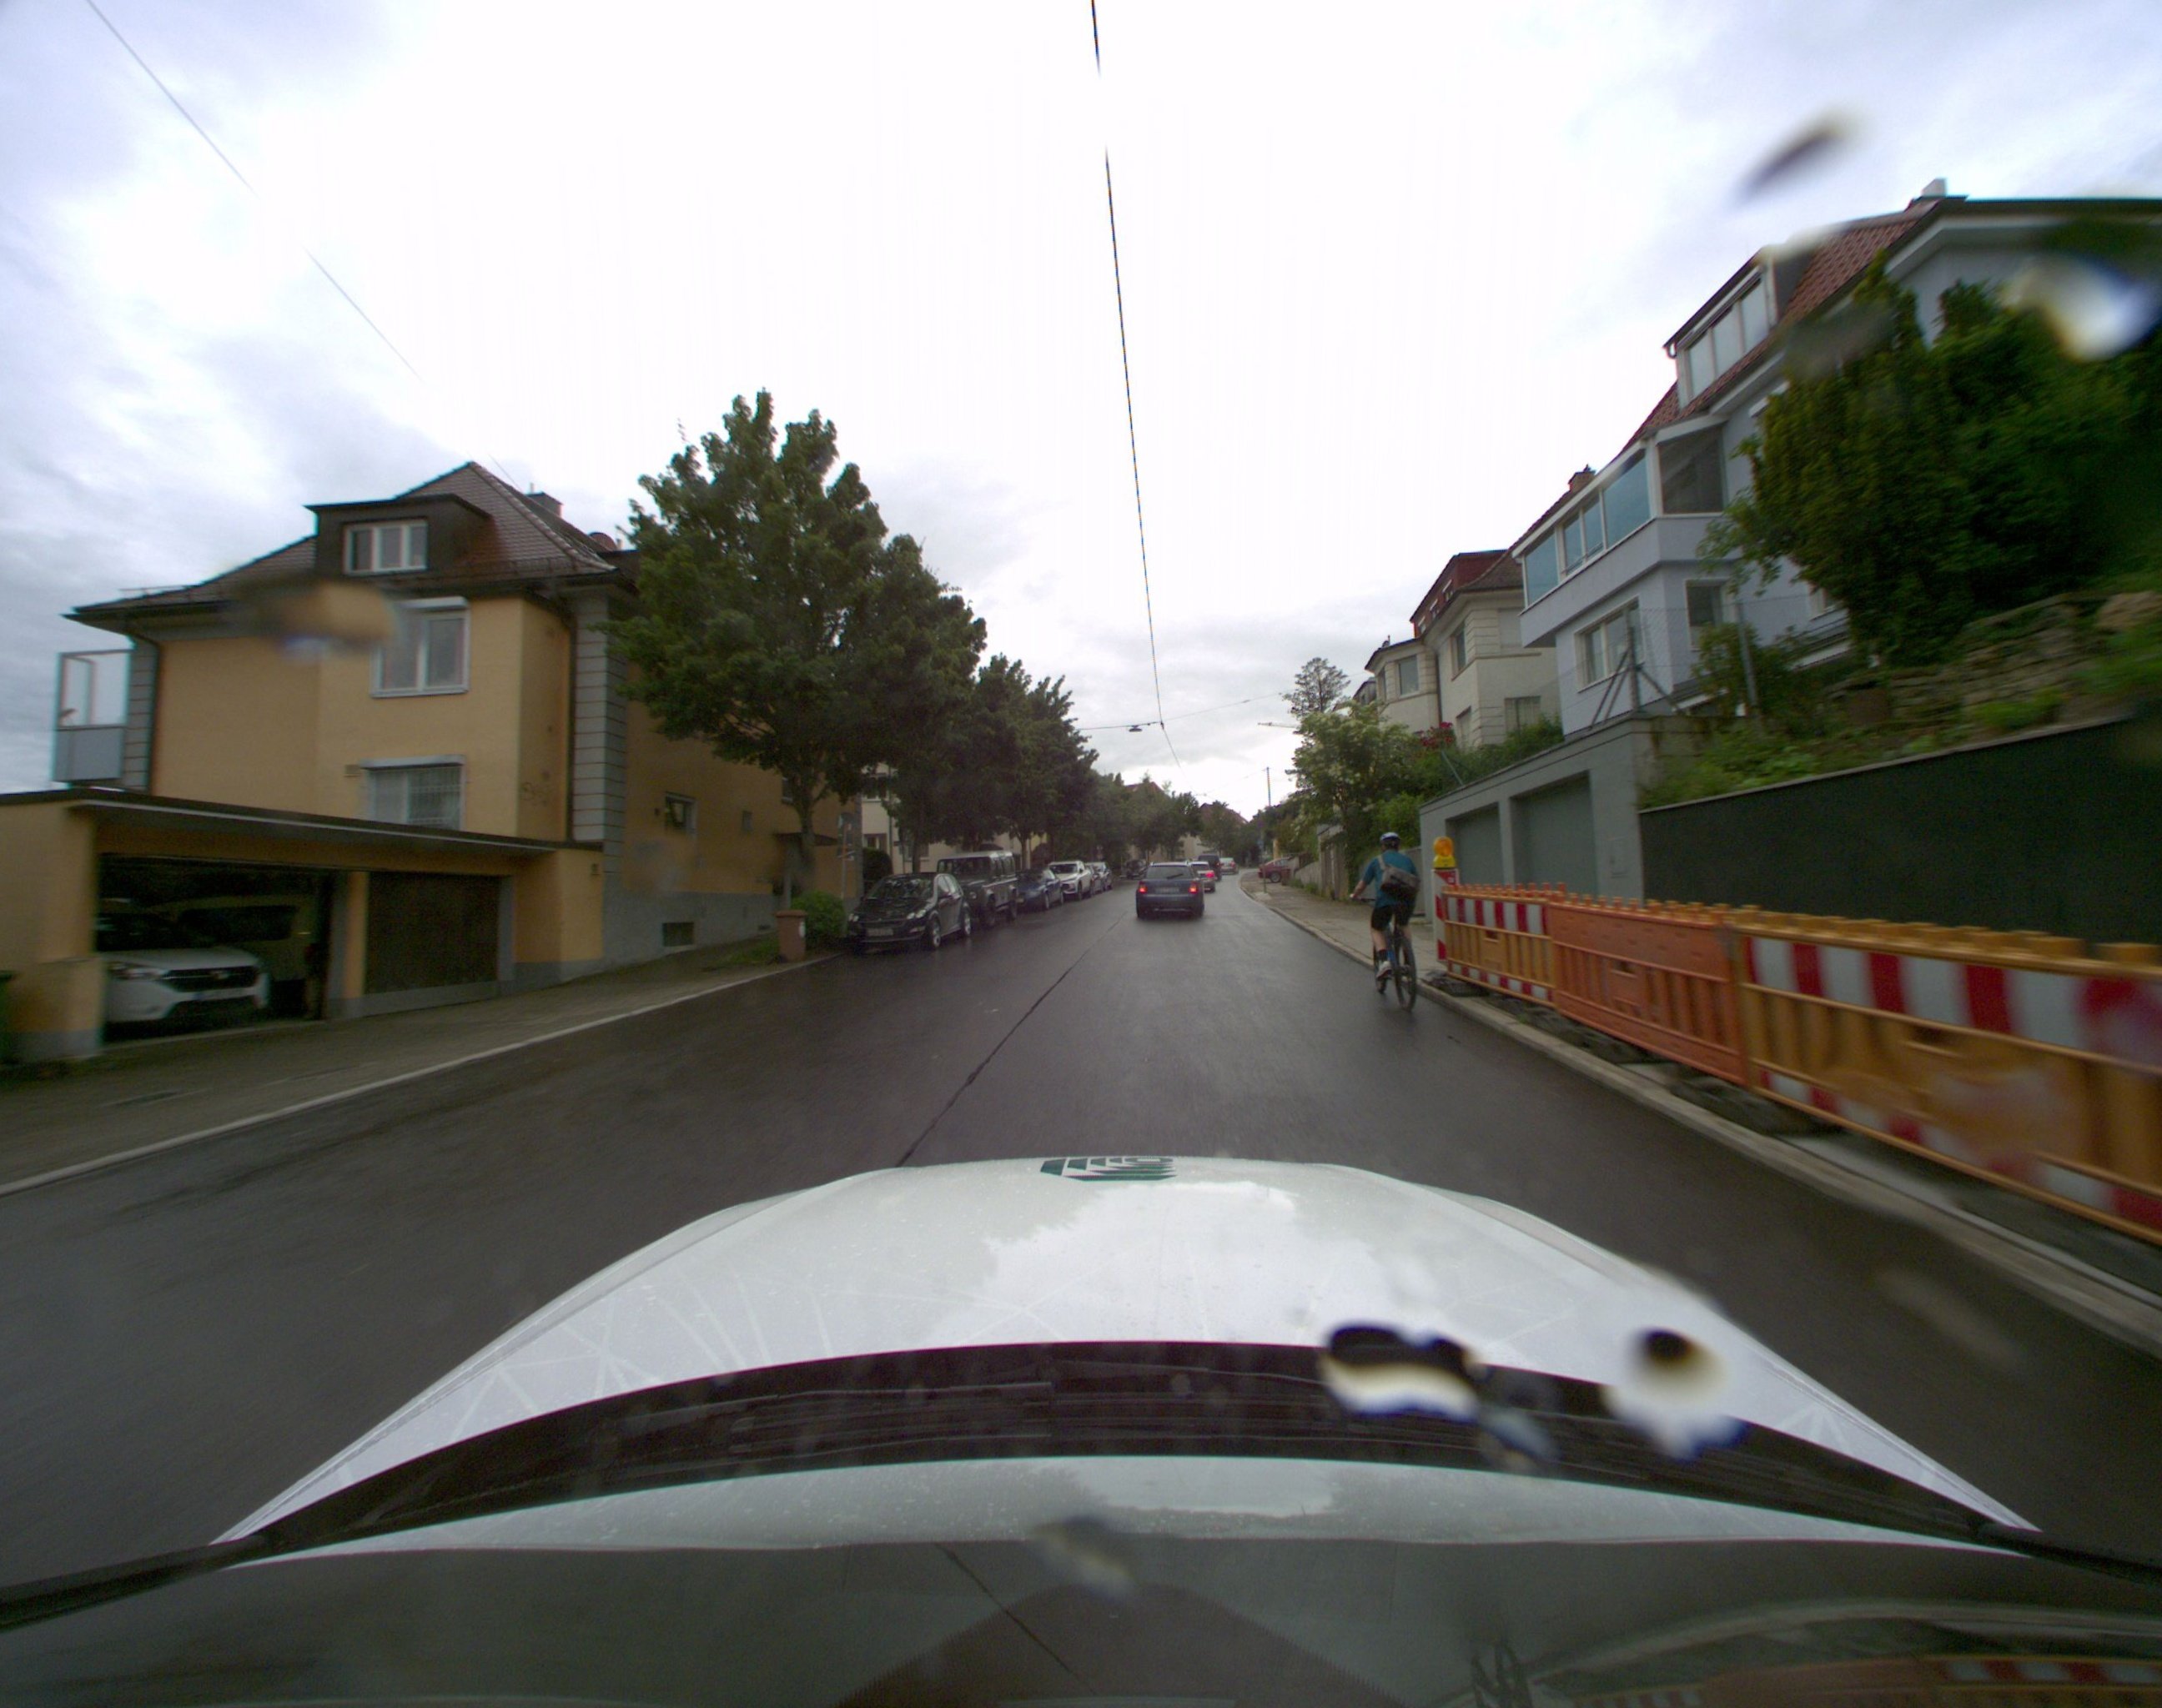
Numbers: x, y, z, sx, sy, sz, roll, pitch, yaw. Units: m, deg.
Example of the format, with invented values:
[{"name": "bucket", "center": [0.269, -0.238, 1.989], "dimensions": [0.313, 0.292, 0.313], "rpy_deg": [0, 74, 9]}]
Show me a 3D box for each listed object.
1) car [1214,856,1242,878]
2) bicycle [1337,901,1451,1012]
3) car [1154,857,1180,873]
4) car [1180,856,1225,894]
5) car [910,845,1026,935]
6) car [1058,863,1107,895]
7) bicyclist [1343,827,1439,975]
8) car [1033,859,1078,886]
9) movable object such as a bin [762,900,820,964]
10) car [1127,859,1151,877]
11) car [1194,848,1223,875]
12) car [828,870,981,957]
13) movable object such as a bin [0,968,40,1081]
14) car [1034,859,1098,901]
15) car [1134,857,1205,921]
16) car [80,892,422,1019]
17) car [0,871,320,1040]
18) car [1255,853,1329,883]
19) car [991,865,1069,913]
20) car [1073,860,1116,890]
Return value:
[{"name": "car", "center": [12.850, 1.136, 71.240], "dimensions": [1.719, 1.768, 4.256], "rpy_deg": [1, 1, 19]}, {"name": "bicycle", "center": [3.243, 1.020, 8.591], "dimensions": [0.726, 0.965, 1.674], "rpy_deg": [-1, 0, 7]}, {"name": "car", "center": [8.855, 1.145, 83.584], "dimensions": [1.719, 1.466, 4.019], "rpy_deg": [1, 1, 19]}, {"name": "car", "center": [5.993, 0.992, 39.921], "dimensions": [1.962, 1.635, 4.249], "rpy_deg": [1, 1, 11]}, {"name": "car", "center": [-2.893, 0.860, 22.055], "dimensions": [1.782, 2.049, 4.791], "rpy_deg": [-5, 0, 7]}, {"name": "car", "center": [0.138, 1.212, 40.635], "dimensions": [1.757, 1.473, 4.018], "rpy_deg": [-3, -1, 10]}, {"name": "bicyclist", "center": [3.232, 0.473, 8.560], "dimensions": [0.721, 1.472, 0.888], "rpy_deg": [-1, -1, 6]}, {"name": "car", "center": [-2.085, 1.495, 67.173], "dimensions": [3.190, 1.740, 1.484], "rpy_deg": [-8, 0, 10]}, {"name": "movable object such as a bin", "center": [-5.196, 1.383, 14.611], "dimensions": [0.680, 1.011, 0.708], "rpy_deg": [-6, -1, 0]}, {"name": "car", "center": [4.655, 1.124, 64.998], "dimensions": [1.465, 1.295, 3.231], "rpy_deg": [1, 1, 12]}, {"name": "car", "center": [9.033, 0.520, 57.549], "dimensions": [1.721, 1.768, 4.250], "rpy_deg": [1, 1, 13]}, {"name": "car", "center": [-3.465, 1.115, 16.877], "dimensions": [1.759, 1.436, 4.354], "rpy_deg": [-3, -1, 6]}, {"name": "movable object such as a bin", "center": [-10.492, 1.632, 7.684], "dimensions": [0.584, 1.023, 0.586], "rpy_deg": [-1, -1, 3]}, {"name": "car", "center": [-0.576, 1.091, 35.253], "dimensions": [1.757, 1.627, 4.703], "rpy_deg": [-3, -1, 11]}, {"name": "car", "center": [2.511, 0.882, 22.404], "dimensions": [1.723, 1.466, 4.011], "rpy_deg": [1, 1, 9]}, {"name": "car", "center": [-13.077, 1.596, 12.990], "dimensions": [3.725, 1.754, 1.852], "rpy_deg": [-3, -5, 7]}, {"name": "car", "center": [-12.829, 1.326, 10.574], "dimensions": [4.356, 1.891, 1.852], "rpy_deg": [-3, -5, 7]}, {"name": "car", "center": [12.201, 0.793, 47.230], "dimensions": [3.959, 1.466, 1.745], "rpy_deg": [-3, 0, 13]}, {"name": "car", "center": [-1.740, 1.205, 29.291], "dimensions": [1.758, 1.387, 4.645], "rpy_deg": [-3, 0, 9]}, {"name": "car", "center": [0.818, 1.146, 45.804], "dimensions": [1.757, 1.539, 4.018], "rpy_deg": [-3, -1, 10]}]
